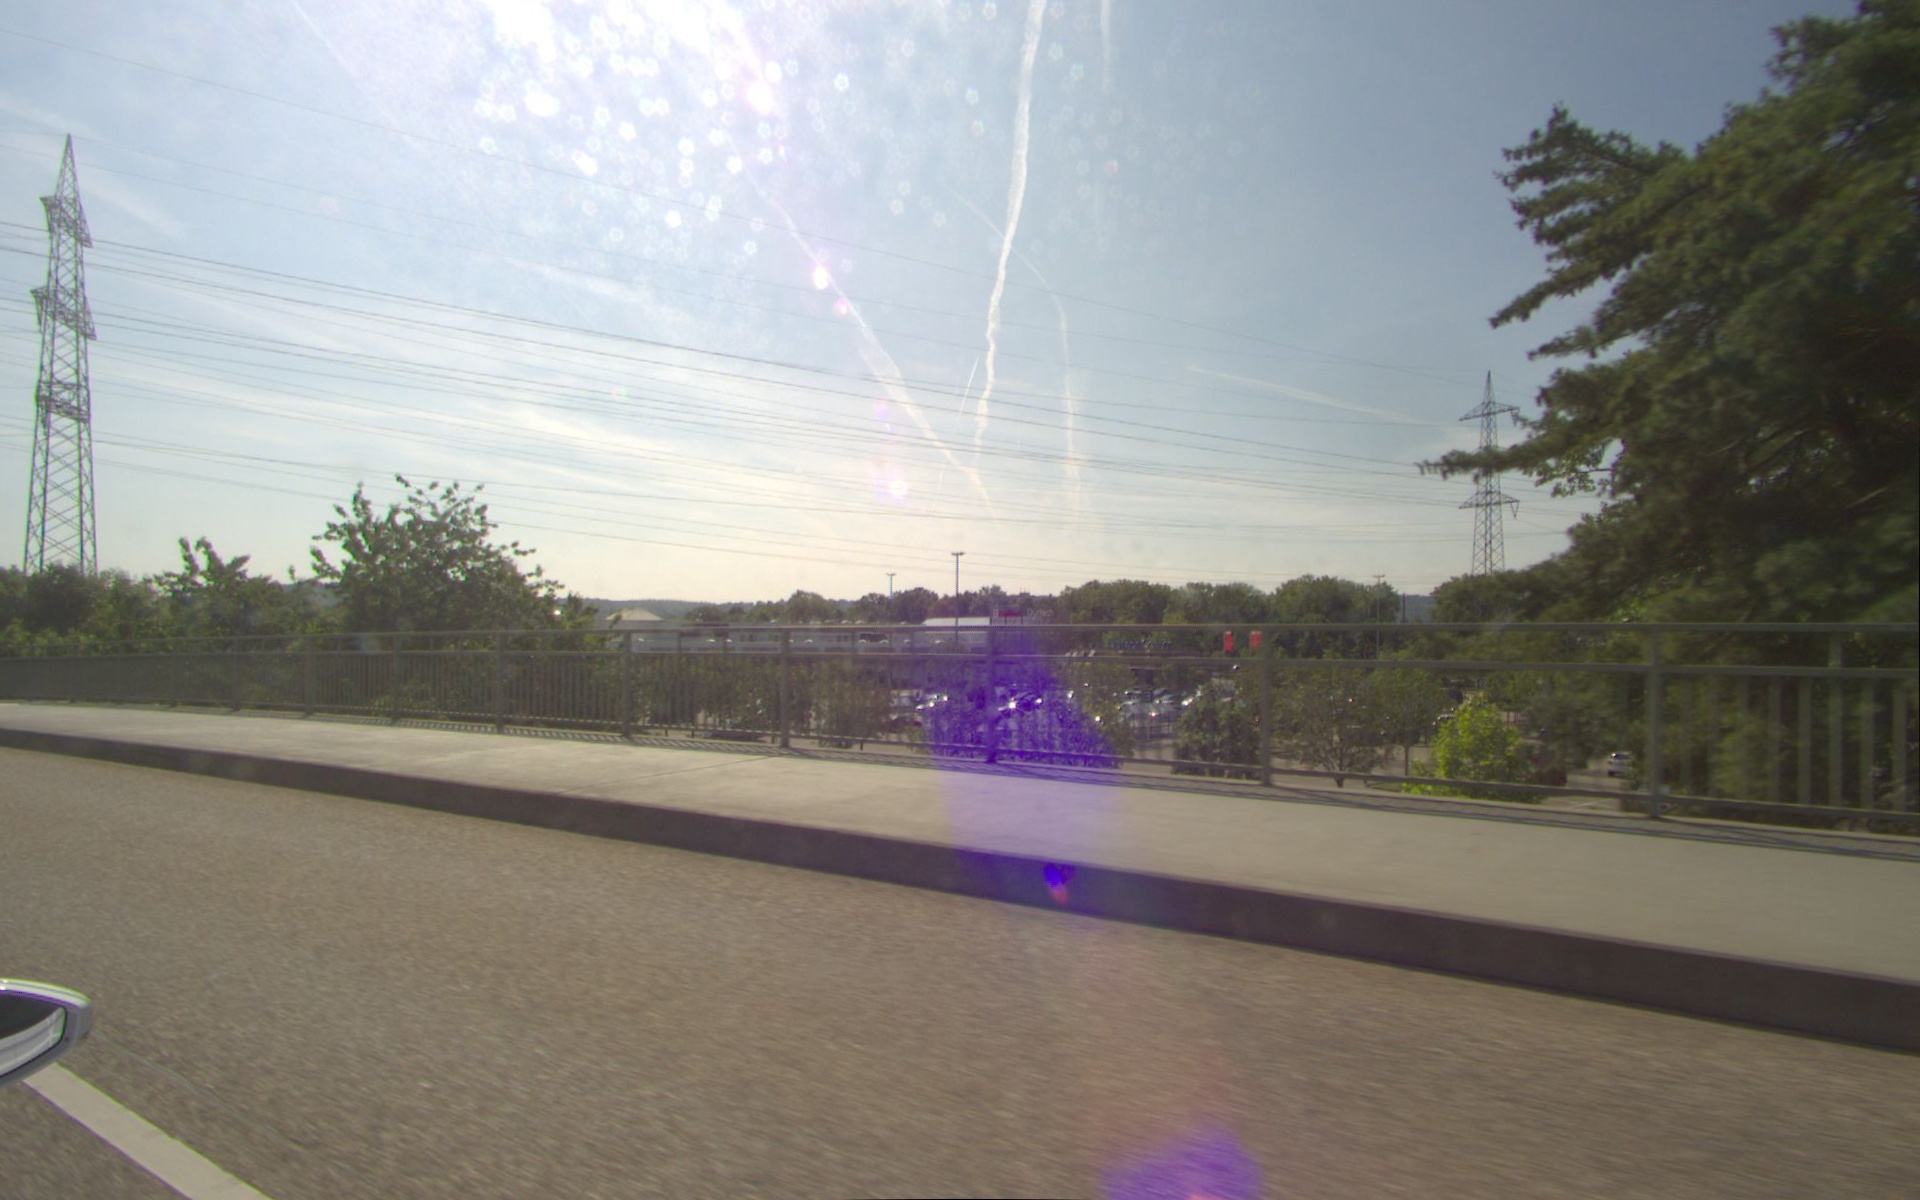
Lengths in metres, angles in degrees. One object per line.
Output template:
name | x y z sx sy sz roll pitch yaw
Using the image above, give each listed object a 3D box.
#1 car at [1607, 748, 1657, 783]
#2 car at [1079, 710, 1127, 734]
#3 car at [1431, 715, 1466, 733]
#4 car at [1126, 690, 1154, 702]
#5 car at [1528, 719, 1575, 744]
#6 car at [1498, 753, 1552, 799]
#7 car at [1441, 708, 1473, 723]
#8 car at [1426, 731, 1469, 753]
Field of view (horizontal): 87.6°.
car | 41.485 10.157 61.743 3.961 1.639 1.754 1 -2 -44
car | 12.472 10.652 87.318 3.894 1.739 1.886 1 -1 -32
car | 45.590 11.558 93.496 3.111 1.378 1.388 1 -1 -27
car | 22.048 11.746 122.614 3.111 1.378 1.388 1 -1 -27
car | 50.206 11.159 84.994 3.948 1.747 1.987 1 -1 -34
car | 31.563 9.760 55.893 1.977 1.914 3.970 -1 -2 40
car | 51.120 11.871 103.043 3.111 1.378 1.388 1 -1 -27
car | 37.359 10.875 76.748 3.111 1.378 1.388 1 -1 -27
